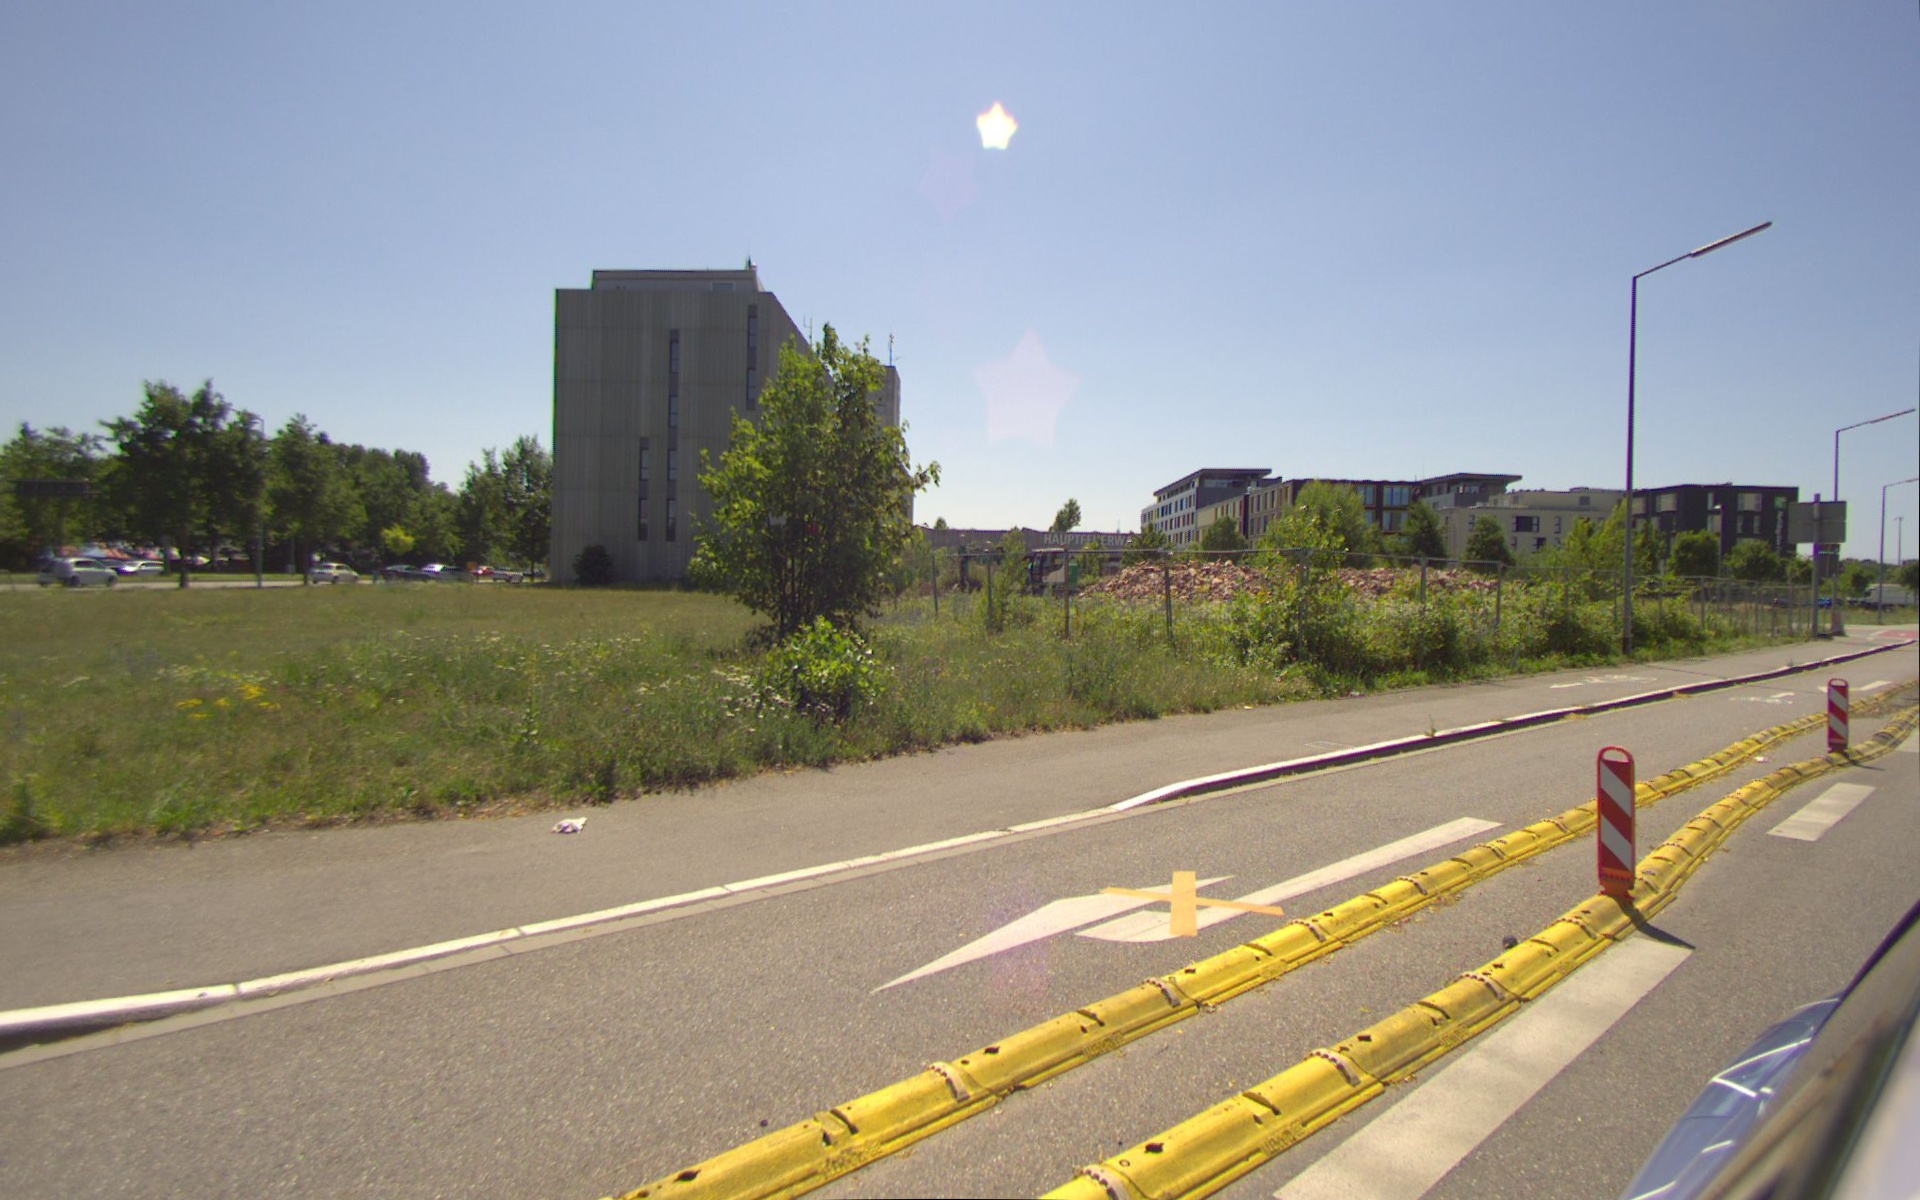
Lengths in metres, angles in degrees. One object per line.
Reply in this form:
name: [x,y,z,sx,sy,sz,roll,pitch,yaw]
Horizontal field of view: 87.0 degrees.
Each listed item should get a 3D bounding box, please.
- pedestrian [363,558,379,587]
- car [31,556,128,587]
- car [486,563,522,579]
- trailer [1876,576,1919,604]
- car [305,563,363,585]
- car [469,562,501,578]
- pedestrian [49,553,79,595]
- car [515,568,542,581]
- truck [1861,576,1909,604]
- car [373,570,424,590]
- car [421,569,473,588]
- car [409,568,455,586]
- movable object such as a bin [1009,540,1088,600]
pedestrian: [-34.541,-1.614,59.367,0.489,1.712,0.737,0,0,-1]
car: [-47.326,-1.495,54.515,1.708,1.571,3.999,0,1,1]
car: [-45.049,-2.838,100.151,1.708,1.571,3.999,0,1,1]
trailer: [119.395,-1.170,126.249,8.030,3.390,1.998,1,1,4]
car: [-45.459,-1.867,73.620,1.708,1.571,3.999,0,1,1]
car: [-57.054,-3.590,121.645,1.963,1.838,3.998,0,1,2]
pedestrian: [-34.317,-0.991,38.766,0.489,1.583,0.737,0,0,-1]
car: [-60.215,-3.537,141.317,1.963,1.838,3.998,0,1,2]
truck: [115.600,-1.292,126.545,3.928,3.377,1.998,1,1,4]
car: [-45.575,-1.614,82.249,1.707,1.571,4.408,-1,0,0]
car: [-42.744,-1.767,84.432,1.965,1.523,4.069,0,1,6]
car: [-48.307,-2.065,92.650,1.708,1.571,4.641,0,1,1]
movable object such as a bin: [4.692,-1.555,53.758,3.619,3.101,2.207,0,0,-36]
